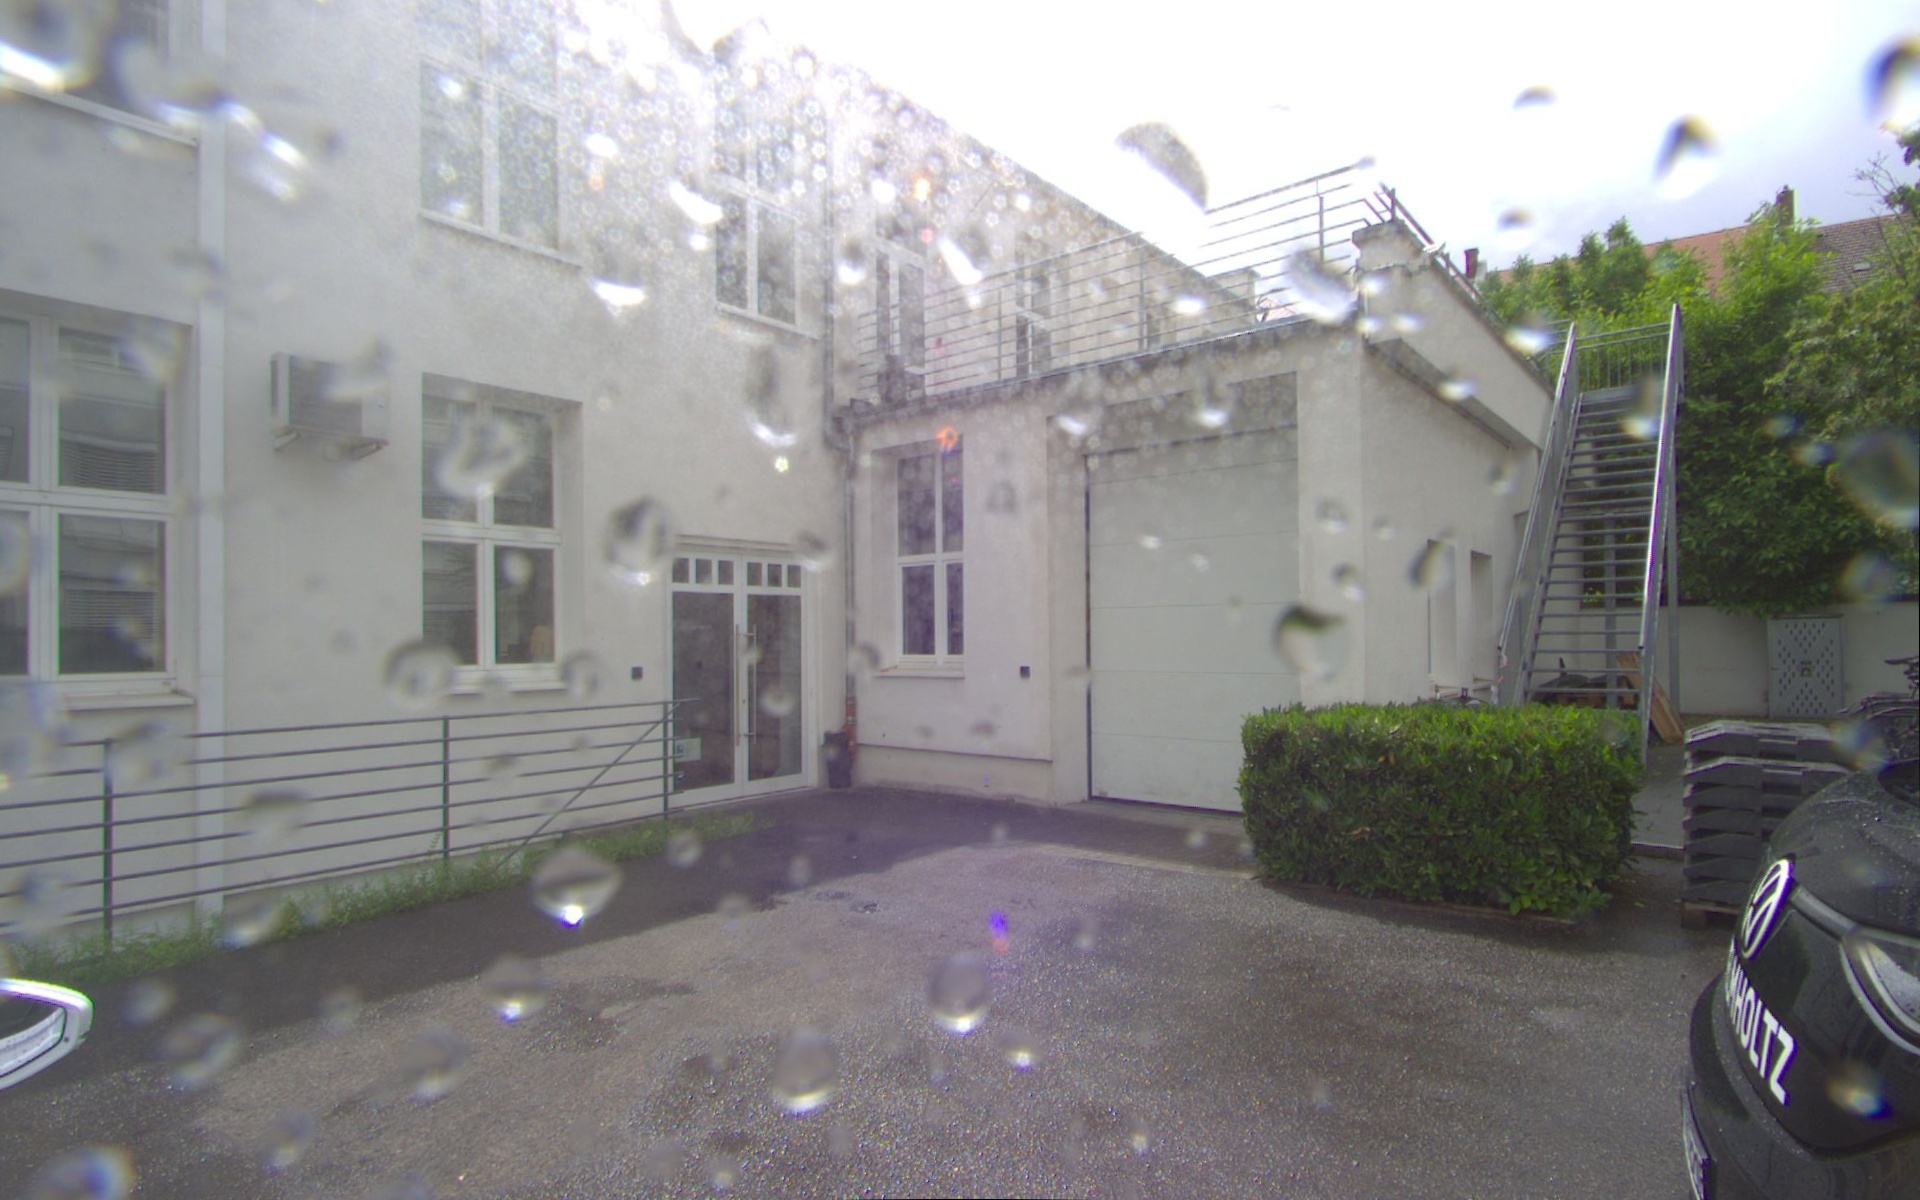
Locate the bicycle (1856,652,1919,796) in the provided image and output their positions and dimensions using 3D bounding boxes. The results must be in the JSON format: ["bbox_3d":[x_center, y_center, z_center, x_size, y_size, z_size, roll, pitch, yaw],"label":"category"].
[{"bbox_3d":[8.072,0.973,7.670,1.776,1.118,0.402,-2,-1,41],"label":"bicycle"}]

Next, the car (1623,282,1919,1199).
[{"bbox_3d":[3.364,0.542,0.735,4.682,1.888,1.961,-3,-3,32],"label":"car"}]

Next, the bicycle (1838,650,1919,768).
[{"bbox_3d":[9.594,1.052,9.596,1.731,1.118,0.344,-1,-1,34],"label":"bicycle"}]

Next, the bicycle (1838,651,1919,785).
[{"bbox_3d":[8.510,1.001,8.346,1.776,1.118,0.352,-2,-1,41],"label":"bicycle"}]

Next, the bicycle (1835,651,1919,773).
[{"bbox_3d":[9.253,1.039,9.237,1.731,1.118,0.341,-1,-1,34],"label":"bicycle"}]

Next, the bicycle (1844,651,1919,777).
[{"bbox_3d":[9.081,1.025,8.940,1.731,1.118,0.331,-1,-1,34],"label":"bicycle"}]

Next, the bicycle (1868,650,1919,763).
[{"bbox_3d":[10.135,1.062,9.851,1.731,1.118,0.353,-1,-1,34],"label":"bicycle"}]

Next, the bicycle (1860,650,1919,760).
[{"bbox_3d":[10.323,1.075,10.158,1.731,1.118,0.340,-1,-1,34],"label":"bicycle"}]

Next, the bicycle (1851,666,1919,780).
[{"bbox_3d":[8.908,1.082,8.645,1.772,0.980,0.328,-1,-1,34],"label":"bicycle"}]
